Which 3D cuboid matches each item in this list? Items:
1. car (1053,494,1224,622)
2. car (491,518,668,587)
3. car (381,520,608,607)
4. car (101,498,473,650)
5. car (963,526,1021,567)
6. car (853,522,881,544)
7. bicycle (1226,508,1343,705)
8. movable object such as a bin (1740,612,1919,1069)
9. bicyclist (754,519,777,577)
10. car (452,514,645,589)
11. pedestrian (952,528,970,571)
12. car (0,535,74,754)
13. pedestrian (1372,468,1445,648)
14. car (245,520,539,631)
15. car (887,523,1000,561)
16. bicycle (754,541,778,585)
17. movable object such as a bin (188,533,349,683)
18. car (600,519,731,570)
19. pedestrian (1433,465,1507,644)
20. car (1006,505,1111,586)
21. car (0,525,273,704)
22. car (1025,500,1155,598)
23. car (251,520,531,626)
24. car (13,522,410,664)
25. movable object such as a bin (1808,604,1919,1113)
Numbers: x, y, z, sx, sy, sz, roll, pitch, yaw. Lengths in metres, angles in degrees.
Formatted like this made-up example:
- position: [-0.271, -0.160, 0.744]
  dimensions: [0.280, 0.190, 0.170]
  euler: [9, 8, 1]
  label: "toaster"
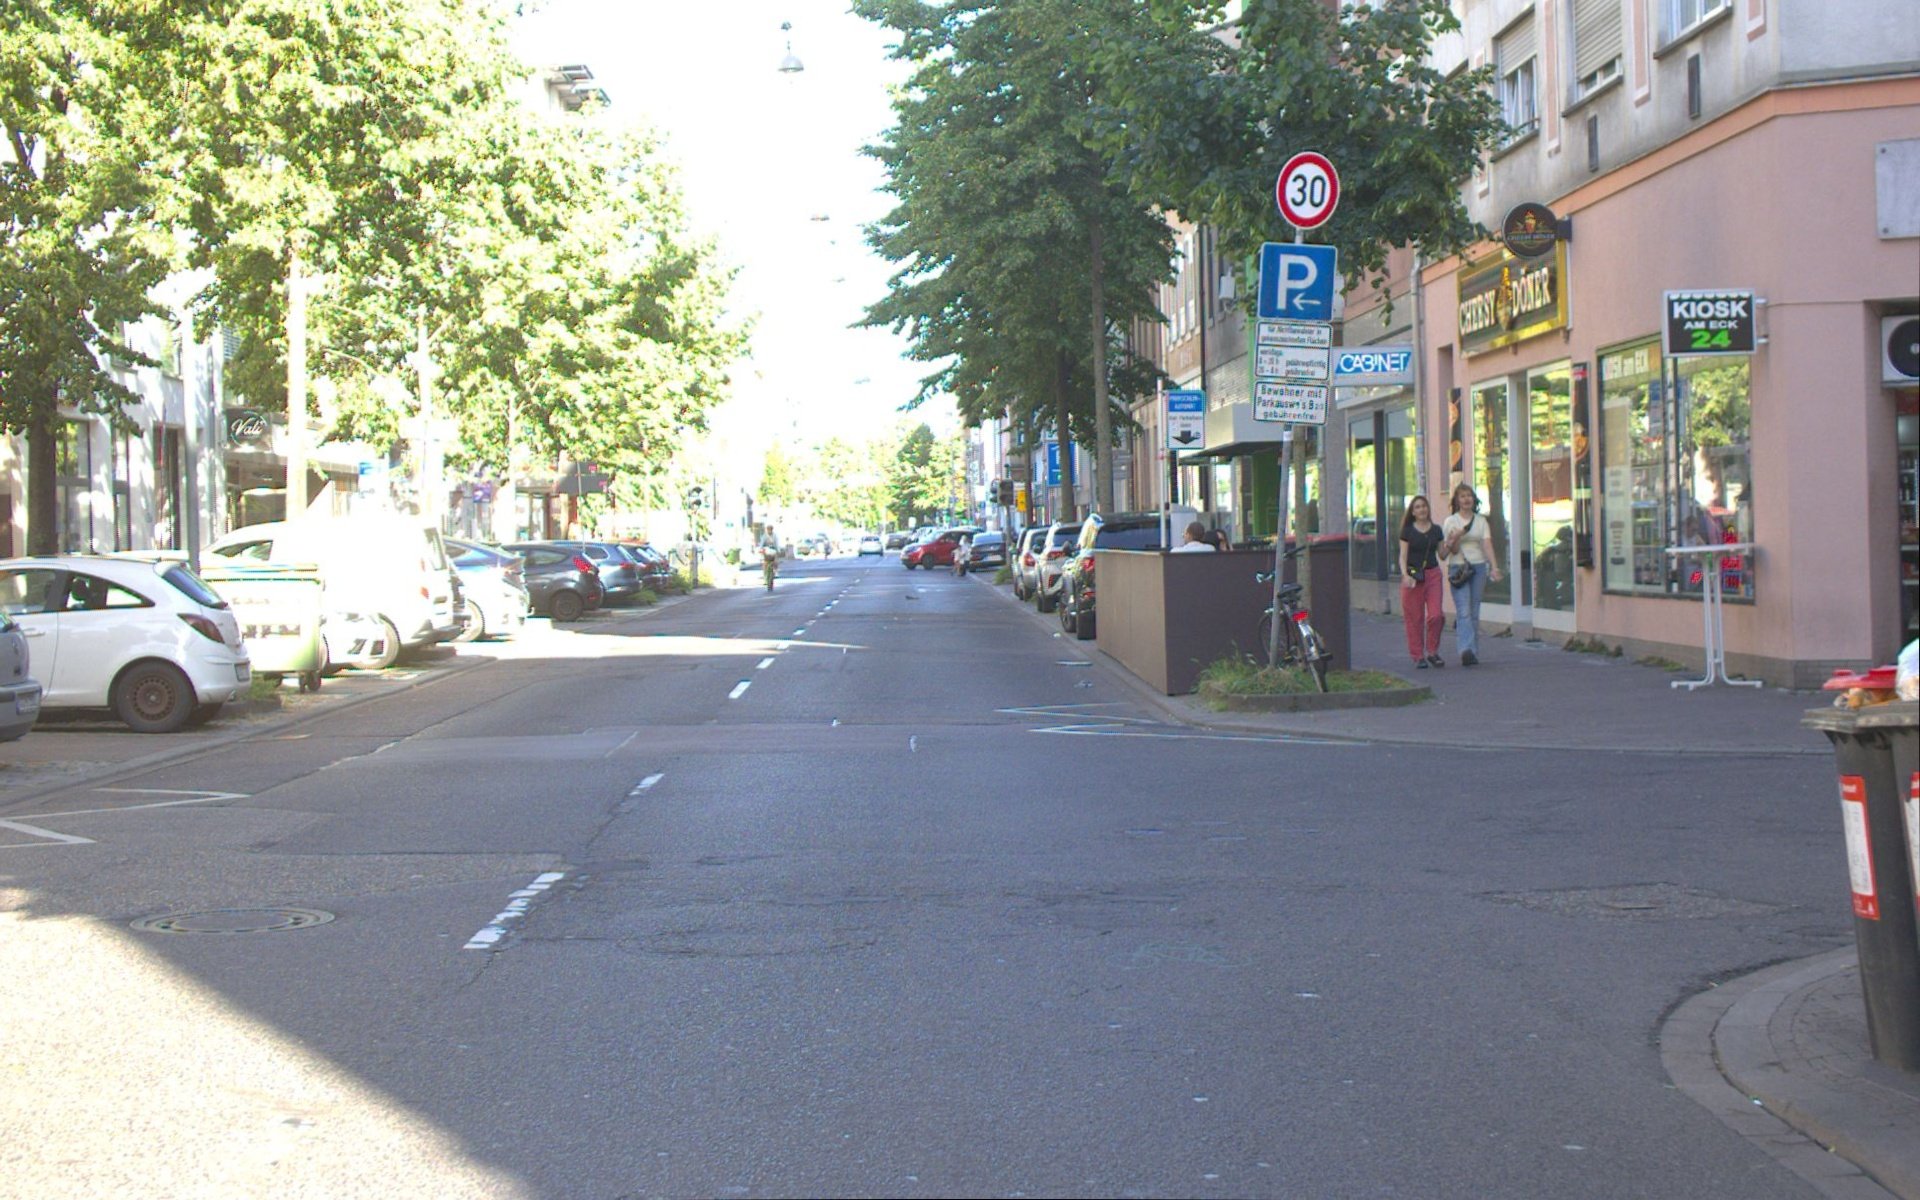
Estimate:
- position: [2.369, -0.599, 46.613]
  dimensions: [1.993, 1.604, 4.001]
  euler: [-2, 2, -1]
  label: "car"
- position: [-8.989, -1.134, 81.428]
  dimensions: [3.986, 1.494, 2.000]
  euler: [-2, 2, -2]
  label: "car"
- position: [-8.687, -0.700, 64.417]
  dimensions: [3.986, 1.494, 2.000]
  euler: [-2, 2, -2]
  label: "car"
- position: [-8.105, -0.335, 41.653]
  dimensions: [3.987, 1.688, 2.000]
  euler: [-1, 1, 4]
  label: "car"
- position: [1.178, -1.981, 127.980]
  dimensions: [1.993, 1.503, 4.000]
  euler: [-1, 1, -1]
  label: "car"
- position: [-6.218, -4.476, 230.042]
  dimensions: [1.792, 1.406, 4.001]
  euler: [-2, 2, -1]
  label: "car"
- position: [2.530, 0.031, 26.955]
  dimensions: [0.560, 1.436, 1.628]
  euler: [-7, 2, -1]
  label: "bicycle"
- position: [2.594, 0.637, 9.489]
  dimensions: [0.659, 1.175, 0.739]
  euler: [-2, 1, -3]
  label: "movable object such as a bin"
- position: [-5.212, -1.397, 92.268]
  dimensions: [0.560, 1.542, 0.728]
  euler: [-1, 0, -1]
  label: "bicyclist"
- position: [-8.959, -1.069, 75.182]
  dimensions: [3.986, 1.494, 2.000]
  euler: [-2, 2, -2]
  label: "car"
- position: [0.032, -1.765, 119.734]
  dimensions: [0.545, 1.467, 0.546]
  euler: [-2, 1, -3]
  label: "pedestrian"
- position: [-8.176, 0.321, 22.960]
  dimensions: [3.986, 1.385, 2.000]
  euler: [-2, 2, -2]
  label: "car"
- position: [4.179, -0.393, 32.031]
  dimensions: [0.547, 1.644, 0.664]
  euler: [-2, 1, -1]
  label: "pedestrian"
- position: [-8.289, -0.376, 50.471]
  dimensions: [3.986, 1.494, 2.000]
  euler: [-2, 2, -2]
  label: "car"
- position: [-0.647, -2.291, 135.684]
  dimensions: [3.987, 1.437, 2.000]
  euler: [-1, 1, -35]
  label: "car"
- position: [-5.194, -0.991, 92.214]
  dimensions: [0.560, 1.176, 1.628]
  euler: [-1, 1, -1]
  label: "bicycle"
- position: [-7.109, 0.067, 35.431]
  dimensions: [1.334, 1.473, 1.480]
  euler: [-2, 1, -1]
  label: "movable object such as a bin"
- position: [-9.352, -1.783, 109.373]
  dimensions: [3.986, 1.494, 2.000]
  euler: [-2, 2, -2]
  label: "car"
- position: [4.751, -0.428, 32.058]
  dimensions: [0.547, 1.644, 0.664]
  euler: [-2, 1, -1]
  label: "pedestrian"
- position: [2.053, -1.179, 72.621]
  dimensions: [1.993, 1.604, 4.001]
  euler: [-2, 2, -1]
  label: "car"
- position: [-7.938, 0.123, 28.747]
  dimensions: [3.986, 1.385, 2.000]
  euler: [-2, 2, -2]
  label: "car"
- position: [2.229, -0.912, 59.986]
  dimensions: [1.993, 1.604, 4.001]
  euler: [-2, 2, -1]
  label: "car"
- position: [-8.731, -0.417, 52.974]
  dimensions: [3.986, 1.495, 2.000]
  euler: [-2, 0, -2]
  label: "car"
- position: [-8.411, -0.095, 38.855]
  dimensions: [3.987, 1.452, 1.868]
  euler: [-1, 2, 4]
  label: "car"
- position: [2.620, 0.627, 8.752]
  dimensions: [0.705, 1.218, 0.681]
  euler: [-2, 1, -3]
  label: "movable object such as a bin"
